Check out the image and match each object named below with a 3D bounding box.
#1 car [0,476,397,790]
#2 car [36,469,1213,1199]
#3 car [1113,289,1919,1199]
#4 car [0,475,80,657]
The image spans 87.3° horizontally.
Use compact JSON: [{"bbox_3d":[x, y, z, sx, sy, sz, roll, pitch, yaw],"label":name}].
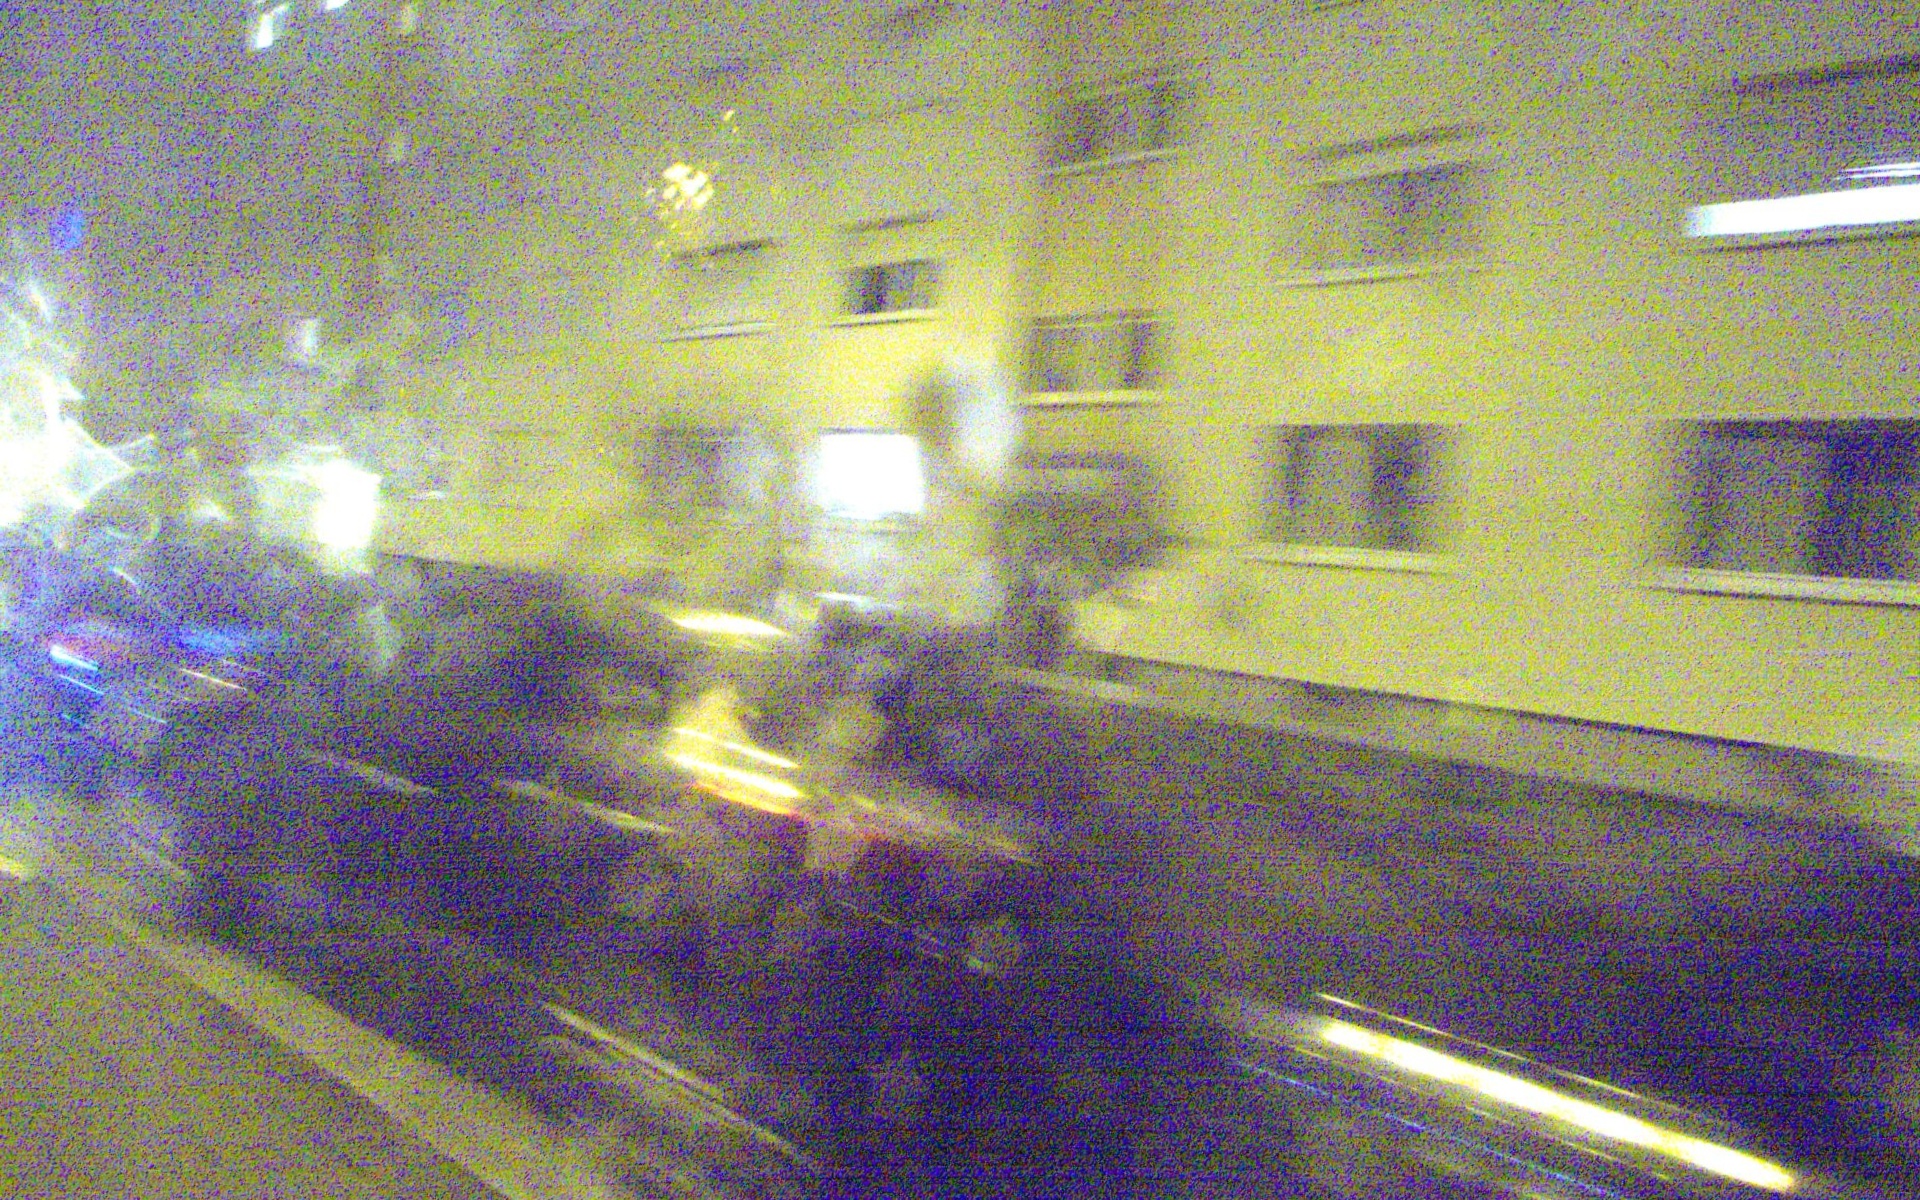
[{"bbox_3d":[-5.842,-0.016,6.580,4.207,1.466,1.797,7,2,30],"label":"car"},{"bbox_3d":[-1.376,0.492,3.747,4.057,1.511,1.797,7,2,29],"label":"car"},{"bbox_3d":[3.138,0.964,0.698,5.753,1.976,1.797,7,2,29],"label":"car"},{"bbox_3d":[-9.952,-0.511,9.094,4.207,1.507,1.676,7,2,30],"label":"car"}]
